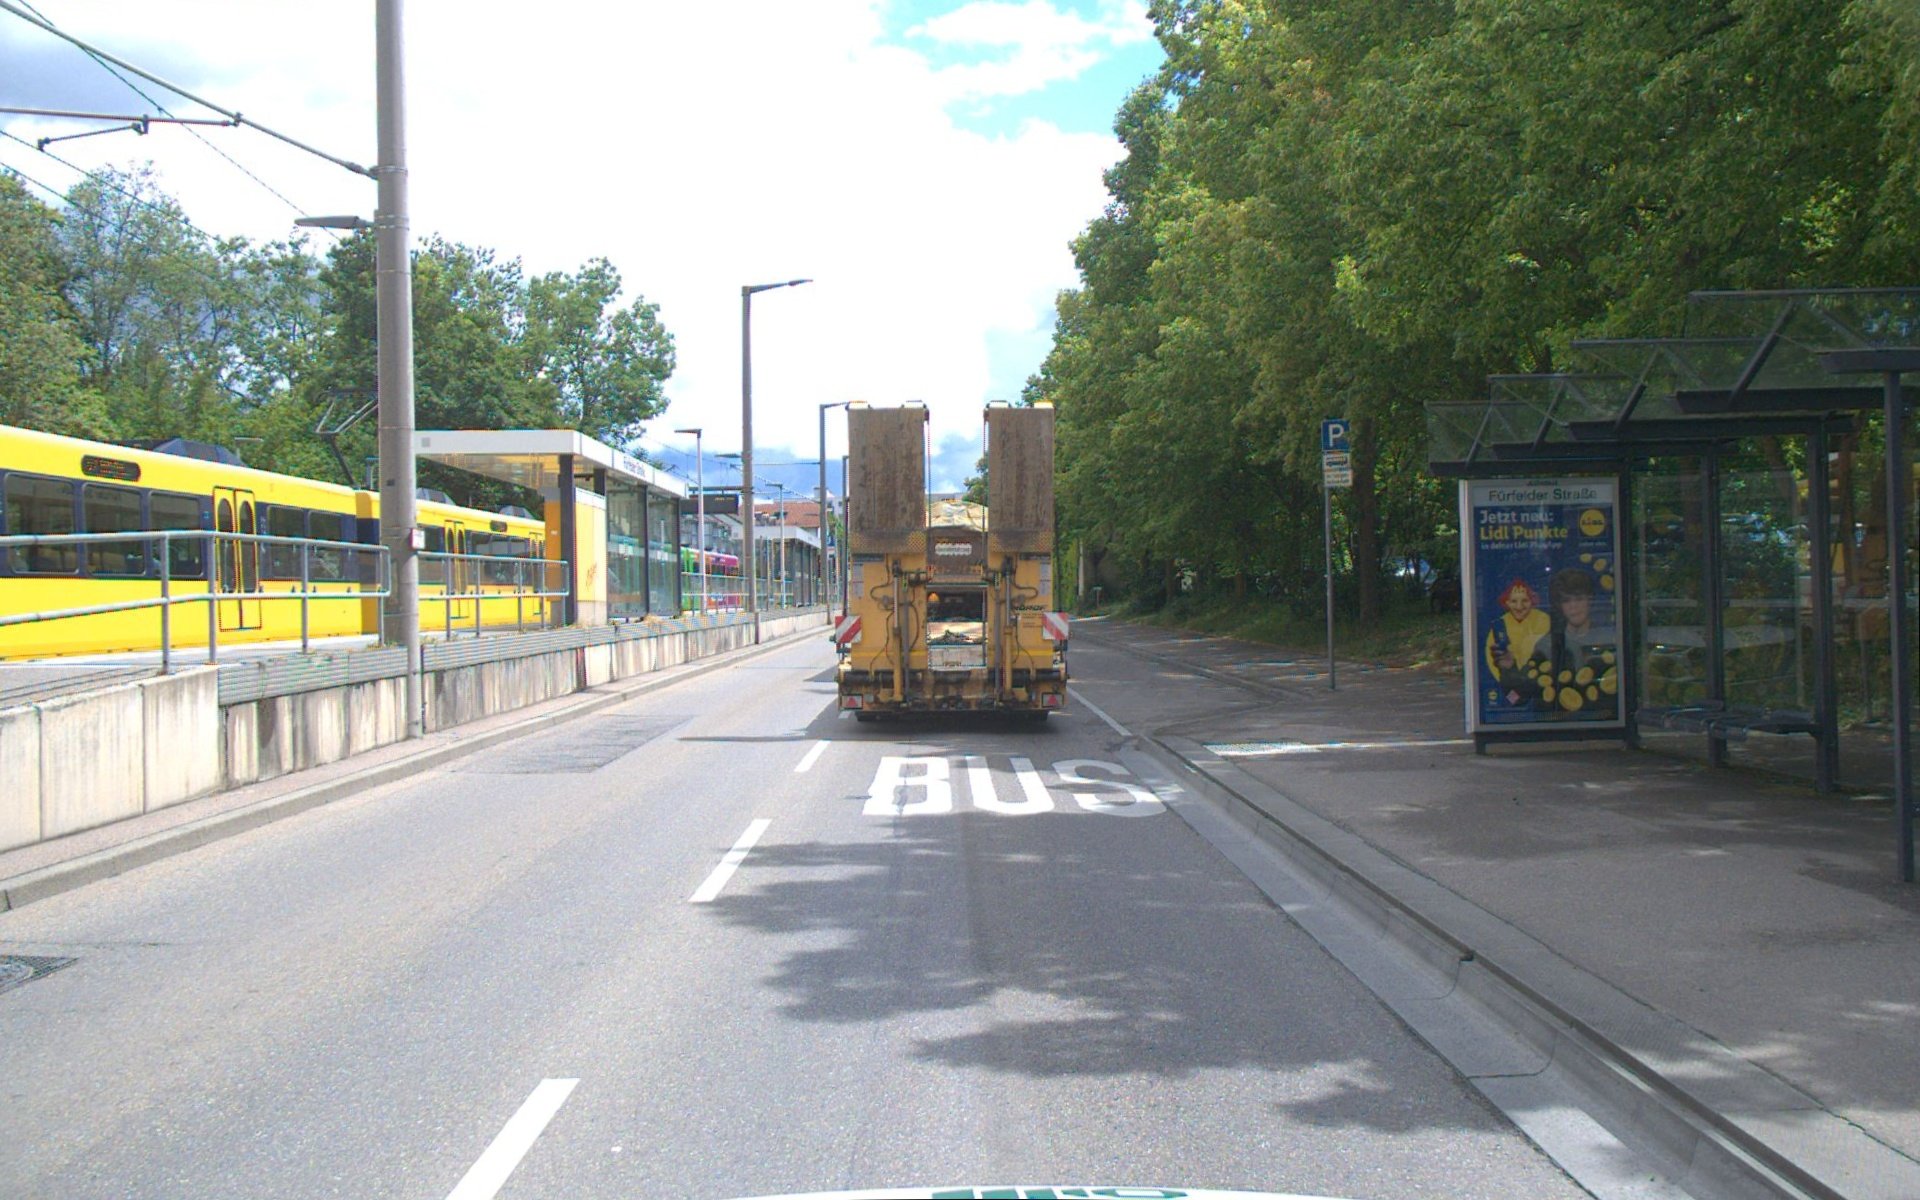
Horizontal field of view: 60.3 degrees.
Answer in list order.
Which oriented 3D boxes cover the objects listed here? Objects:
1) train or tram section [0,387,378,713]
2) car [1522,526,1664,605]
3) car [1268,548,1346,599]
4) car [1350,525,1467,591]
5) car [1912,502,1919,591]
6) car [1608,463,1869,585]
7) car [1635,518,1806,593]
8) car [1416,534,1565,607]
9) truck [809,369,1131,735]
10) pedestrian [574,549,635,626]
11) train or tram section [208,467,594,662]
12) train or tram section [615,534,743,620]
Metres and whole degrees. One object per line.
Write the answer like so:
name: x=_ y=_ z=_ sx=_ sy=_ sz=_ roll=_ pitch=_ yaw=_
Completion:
train or tram section: x=-11.974 y=-0.563 z=20.612 sx=3.045 sy=3.525 sz=18.822 roll=0 pitch=0 yaw=-1
car: x=13.841 y=-0.732 z=36.388 sx=1.658 sy=1.534 sz=3.622 roll=-4 pitch=0 yaw=0
car: x=11.662 y=-0.872 z=55.823 sx=1.680 sy=1.534 sz=4.159 roll=-4 pitch=0 yaw=0
car: x=11.338 y=-1.038 z=42.107 sx=1.761 sy=1.489 sz=3.988 roll=-3 pitch=0 yaw=-1
car: x=16.645 y=-0.934 z=25.261 sx=1.580 sy=1.467 sz=4.352 roll=-4 pitch=0 yaw=-1
car: x=12.005 y=-1.107 z=25.893 sx=1.809 sy=1.691 sz=4.723 roll=-1 pitch=0 yaw=-1
car: x=16.776 y=-0.940 z=36.707 sx=1.803 sy=1.445 sz=4.123 roll=-3 pitch=0 yaw=0
car: x=11.588 y=-0.630 z=36.377 sx=1.579 sy=1.437 sz=3.812 roll=-3 pitch=0 yaw=-8
truck: x=-0.258 y=-0.543 z=24.290 sx=3.334 sy=3.797 sz=13.730 roll=-1 pitch=0 yaw=-3
pedestrian: x=-5.895 y=-0.206 z=27.468 sx=0.779 sy=1.207 sz=0.919 roll=-3 pitch=0 yaw=-2
train or tram section: x=-12.252 y=-0.679 z=39.538 sx=3.045 sy=3.525 sz=18.993 roll=0 pitch=0 yaw=-1
train or tram section: x=-12.856 y=-0.977 z=77.812 sx=3.045 sy=3.525 sz=19.085 roll=0 pitch=0 yaw=-1
